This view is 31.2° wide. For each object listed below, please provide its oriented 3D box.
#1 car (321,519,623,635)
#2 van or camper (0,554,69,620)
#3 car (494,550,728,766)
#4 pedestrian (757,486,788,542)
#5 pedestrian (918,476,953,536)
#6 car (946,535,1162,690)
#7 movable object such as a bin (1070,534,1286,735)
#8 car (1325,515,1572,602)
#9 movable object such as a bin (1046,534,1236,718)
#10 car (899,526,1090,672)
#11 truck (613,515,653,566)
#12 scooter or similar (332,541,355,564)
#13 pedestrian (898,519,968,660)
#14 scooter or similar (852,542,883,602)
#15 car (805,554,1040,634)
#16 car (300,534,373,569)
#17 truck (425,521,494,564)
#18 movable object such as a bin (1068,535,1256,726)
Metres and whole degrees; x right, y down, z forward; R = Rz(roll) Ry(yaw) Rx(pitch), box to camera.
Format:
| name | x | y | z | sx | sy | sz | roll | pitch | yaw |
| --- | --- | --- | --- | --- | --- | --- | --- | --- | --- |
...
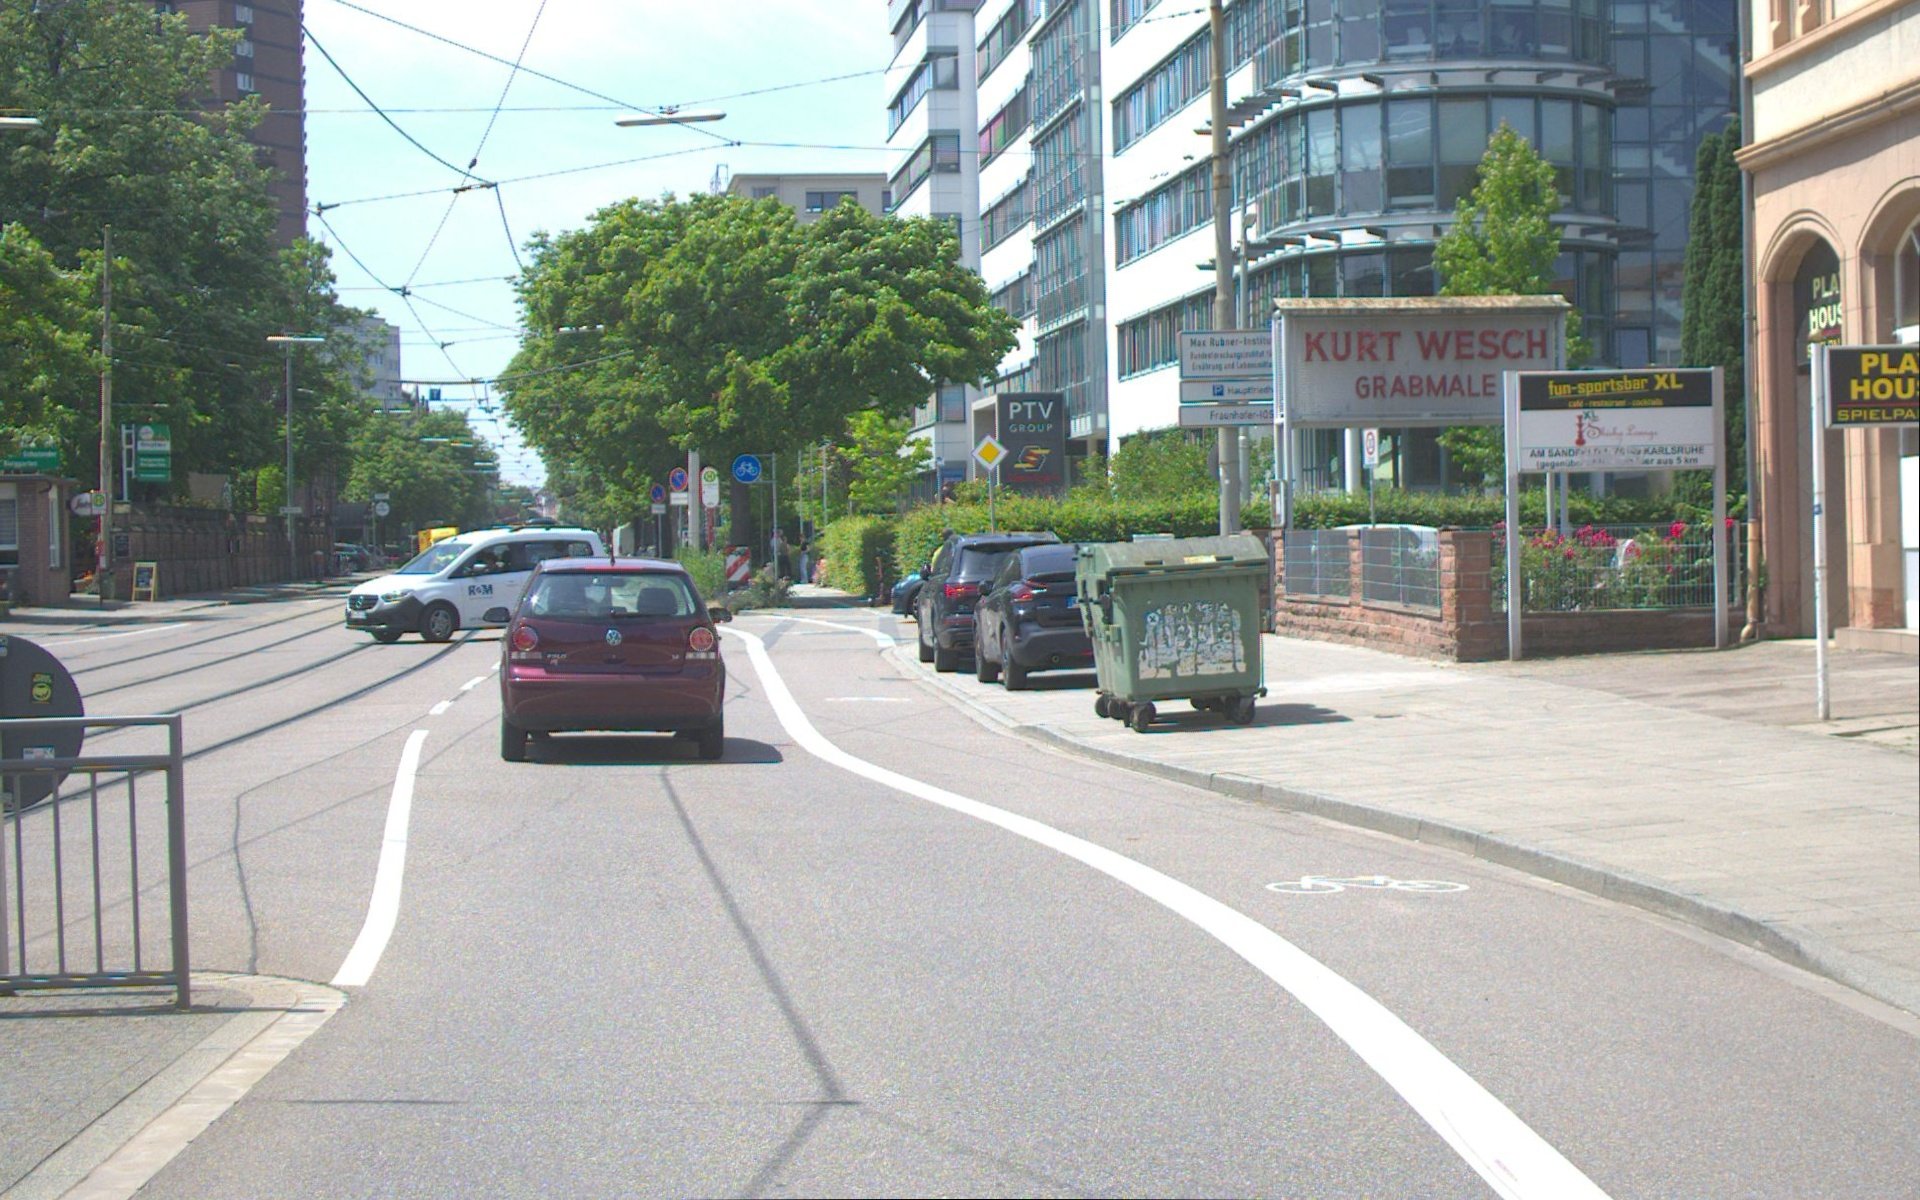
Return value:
| name | x | y | z | sx | sy | sz | roll | pitch | yaw |
| --- | --- | --- | --- | --- | --- | --- | --- | --- | --- |
| car | -7.994 | -0.404 | 56.559 | 4.540 | 1.793 | 1.999 | -2 | 1 | -40 |
| van or camper | -24.908 | -0.339 | 88.097 | 3.783 | 1.623 | 1.872 | 0 | 2 | -6 |
| car | -2.600 | 0.378 | 26.092 | 1.619 | 1.481 | 4.001 | 0 | 1 | -4 |
| pedestrian | -6.115 | -2.806 | 112.000 | 0.678 | 1.790 | 0.674 | -3 | 1 | -37 |
| pedestrian | -0.716 | -2.774 | 101.471 | 0.874 | 1.709 | 1.089 | -3 | 1 | 3 |
| car | 0.973 | 0.107 | 38.182 | 1.772 | 1.543 | 4.468 | -3 | 1 | -6 |
| movable object such as a bin | 1.687 | 0.251 | 26.799 | 1.391 | 1.450 | 1.139 | -3 | 1 | -9 |
| car | 8.800 | -0.762 | 62.141 | 4.148 | 1.454 | 1.818 | -1 | 1 | -2 |
| movable object such as a bin | 1.515 | 0.207 | 28.973 | 1.323 | 1.450 | 1.058 | -3 | 1 | -9 |
| car | 0.375 | -0.063 | 44.537 | 1.924 | 1.687 | 5.083 | -3 | 1 | -5 |
| truck | -17.423 | -3.192 | 183.066 | 1.993 | 2.653 | 4.876 | 0 | 1 | -6 |
| scooter or similar | -32.037 | -2.463 | 178.631 | 1.088 | 1.151 | 0.527 | 0 | 1 | -27 |
| pedestrian | -0.382 | -0.156 | 48.435 | 0.780 | 1.953 | 0.590 | -2 | 1 | -21 |
| scooter or similar | -1.902 | -0.579 | 70.852 | 0.326 | 1.218 | 1.151 | 1 | 1 | 15 |
| car | -0.670 | -0.107 | 62.612 | 3.917 | 1.367 | 1.702 | -1 | 1 | 18 |
| car | -37.157 | -2.886 | 205.048 | 3.986 | 2.007 | 2.000 | -1 | 1 | -2 |
| truck | -33.013 | -3.792 | 227.127 | 2.370 | 2.777 | 7.317 | -1 | 1 | 9 |
| movable object such as a bin | 1.630 | 0.229 | 27.914 | 1.247 | 1.450 | 1.058 | -3 | 1 | -9 |
